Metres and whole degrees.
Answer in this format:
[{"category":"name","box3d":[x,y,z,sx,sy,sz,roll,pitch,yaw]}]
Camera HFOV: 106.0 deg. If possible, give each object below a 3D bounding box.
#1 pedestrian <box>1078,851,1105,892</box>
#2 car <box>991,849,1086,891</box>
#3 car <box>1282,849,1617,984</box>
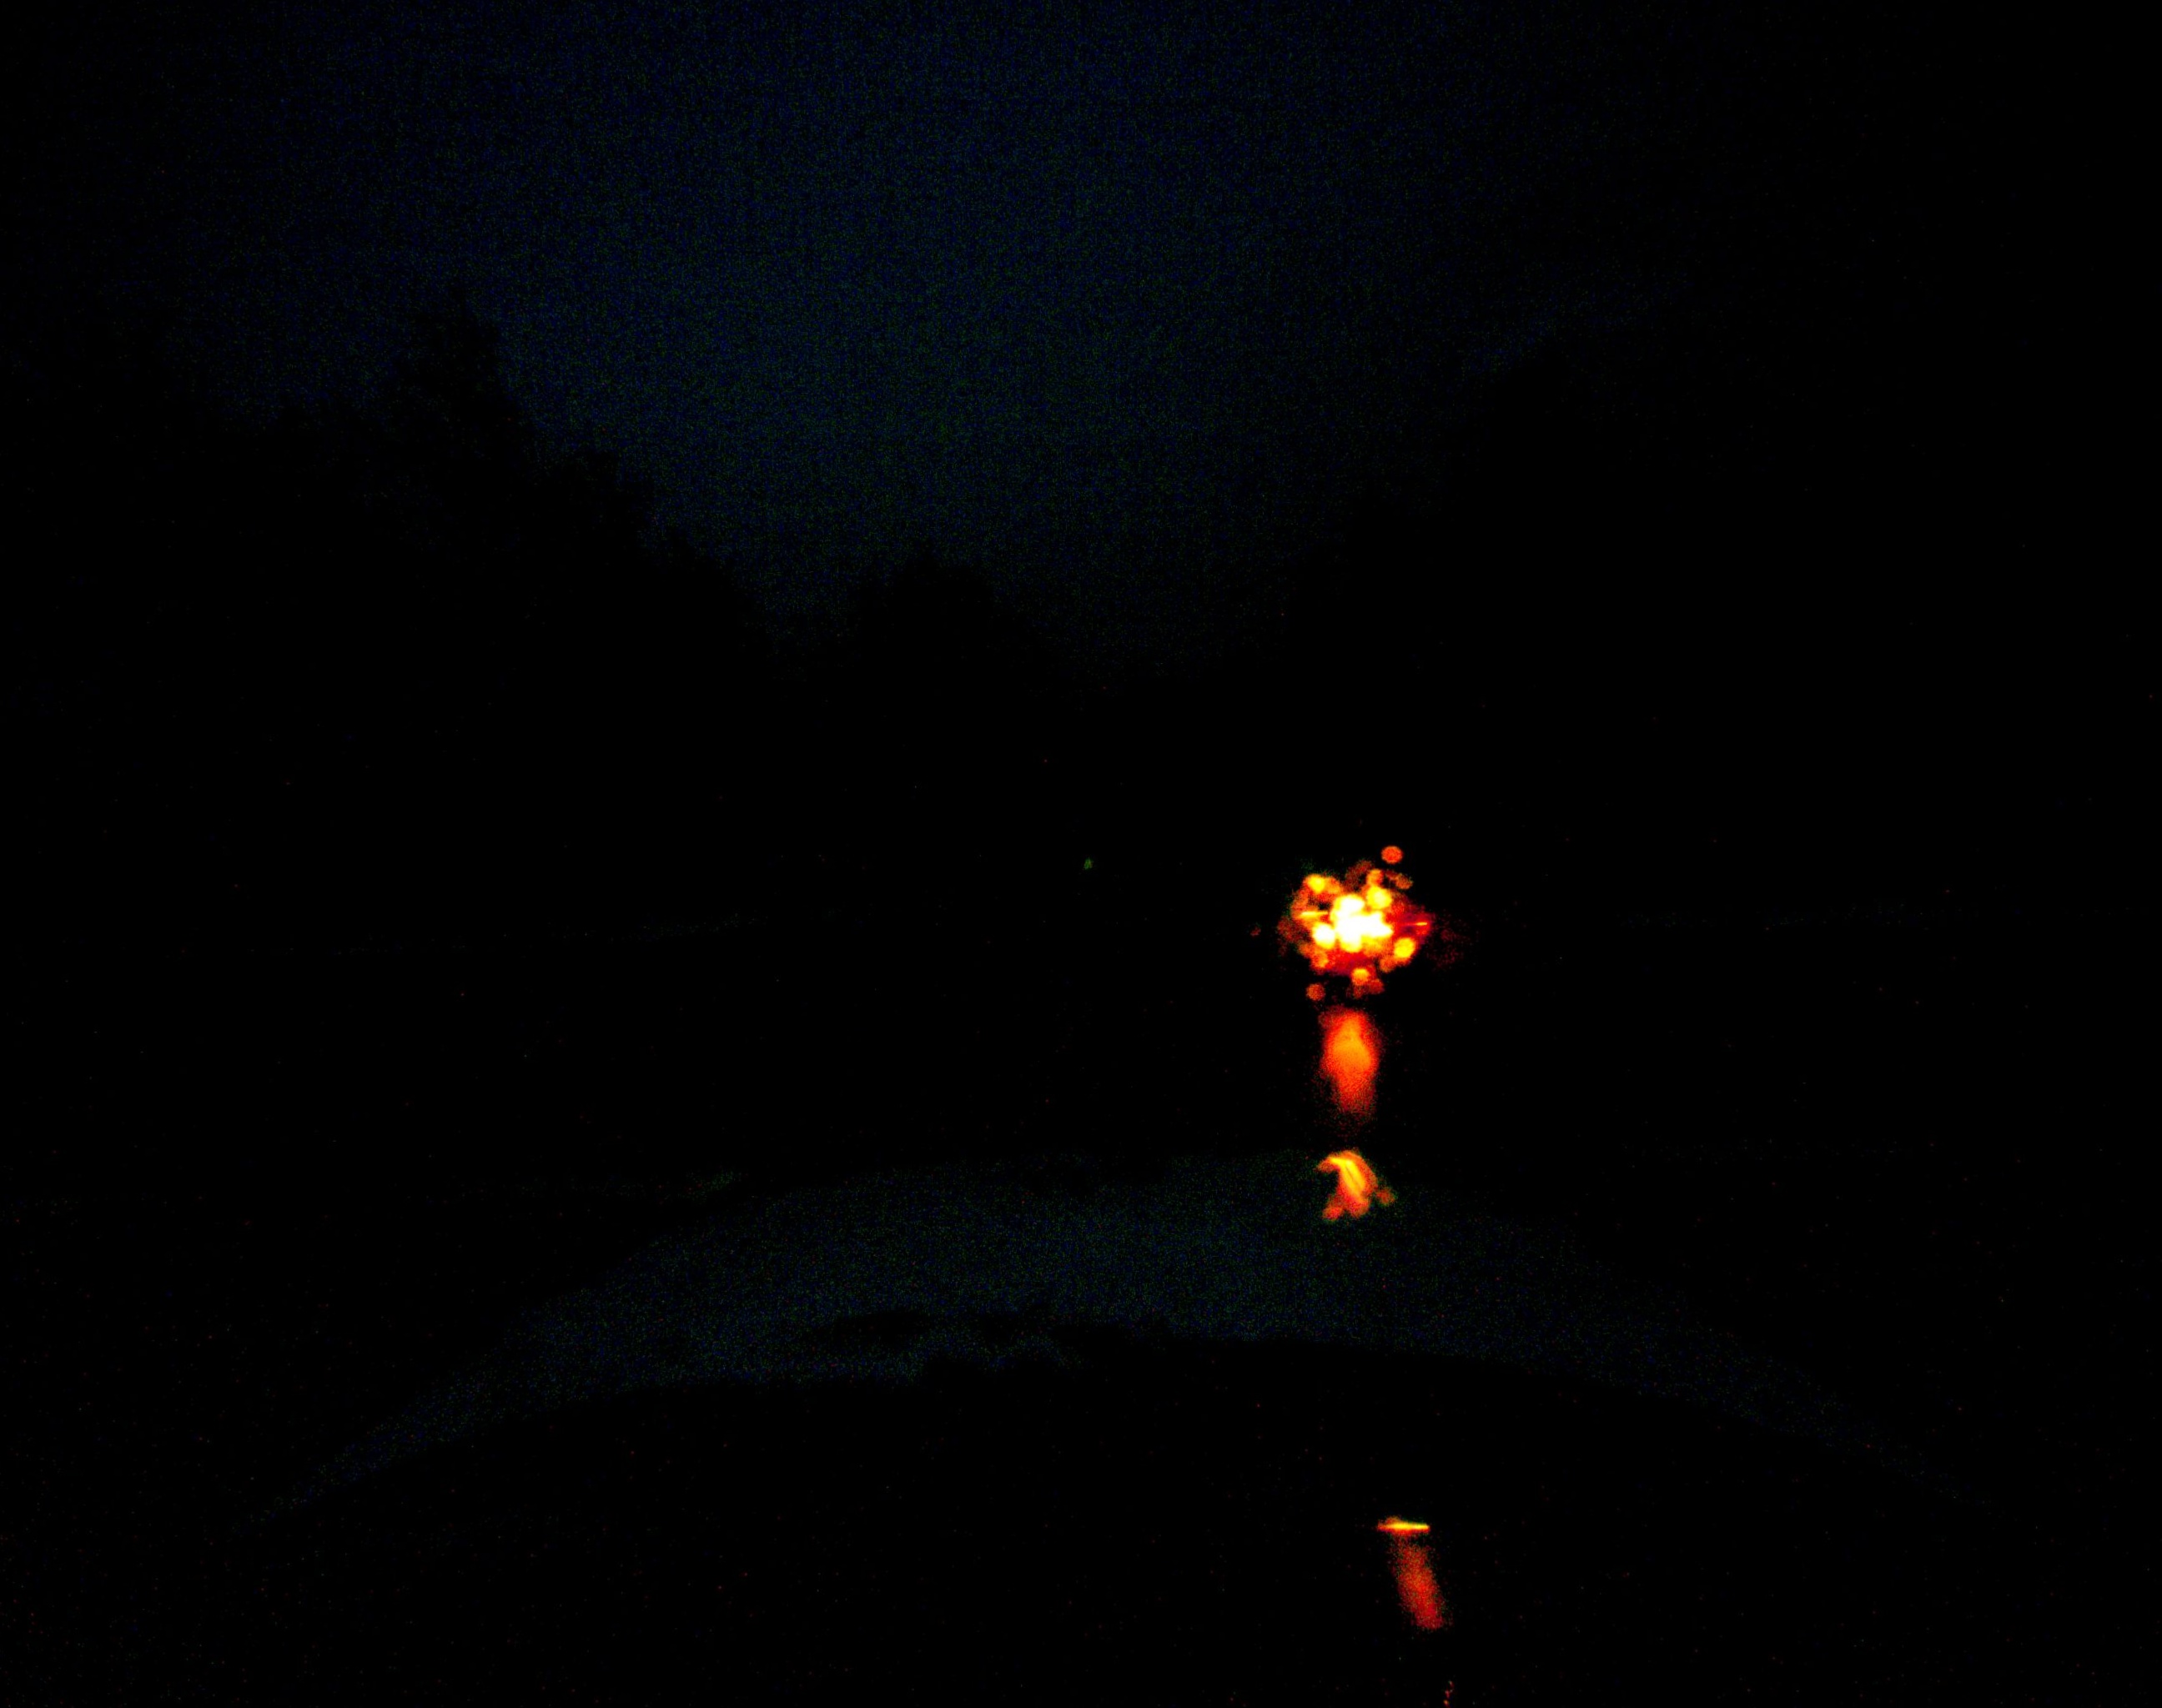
[{"category":"pedestrian","box3d":[0.486,0.798,36.626,0.952,1.828,0.930,-1,-2,23]},{"category":"car","box3d":[-1.964,0.752,37.852,3.915,1.881,2.009,0,-2,18]},{"category":"car","box3d":[4.363,0.689,9.918,3.398,1.452,1.573,0,-1,-6]}]
